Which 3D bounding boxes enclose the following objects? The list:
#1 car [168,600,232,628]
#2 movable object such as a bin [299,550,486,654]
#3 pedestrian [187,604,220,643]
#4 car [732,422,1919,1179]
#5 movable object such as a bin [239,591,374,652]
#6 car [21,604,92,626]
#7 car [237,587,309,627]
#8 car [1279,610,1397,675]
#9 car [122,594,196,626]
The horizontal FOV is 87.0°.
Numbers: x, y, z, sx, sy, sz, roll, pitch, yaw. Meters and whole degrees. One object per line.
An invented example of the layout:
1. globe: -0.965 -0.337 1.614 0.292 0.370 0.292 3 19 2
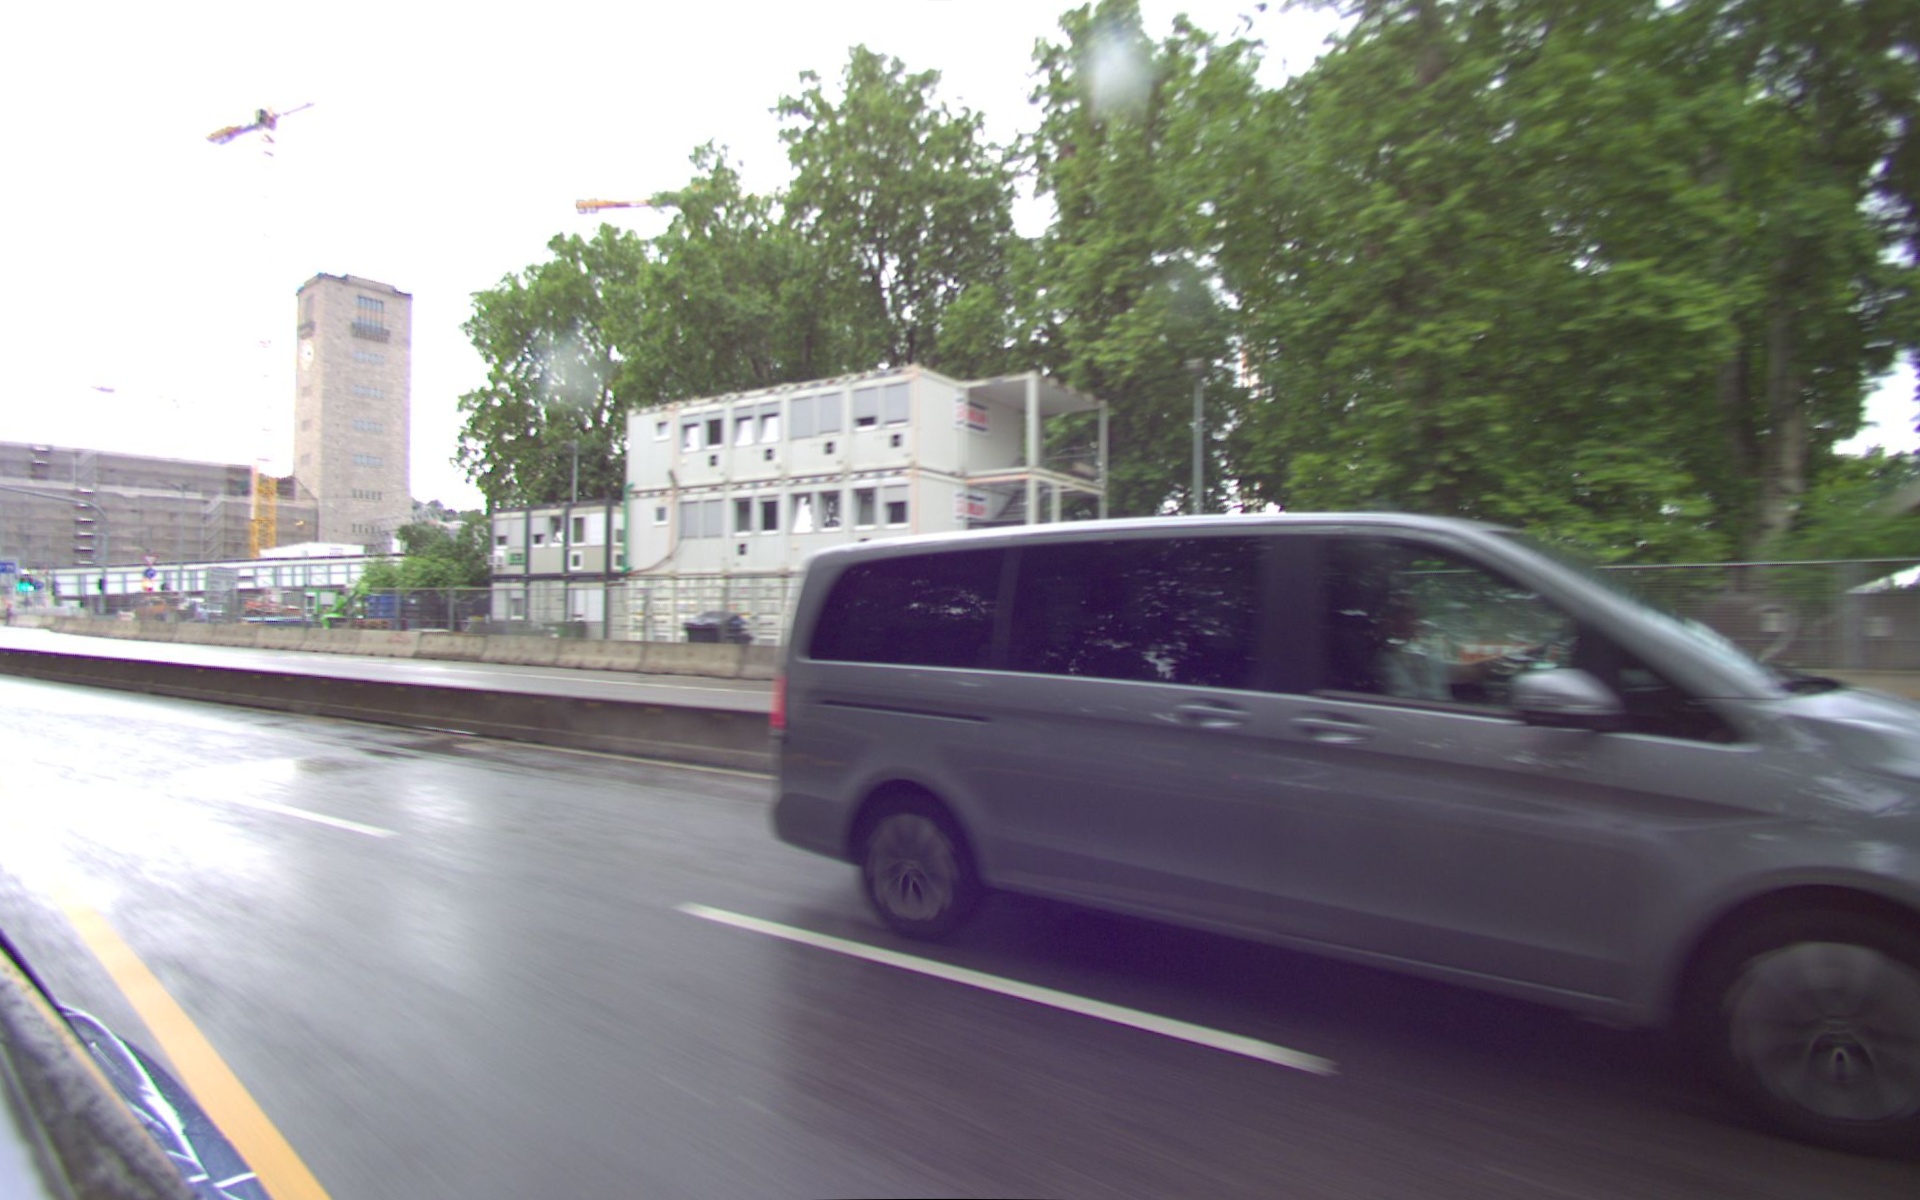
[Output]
1. car: -51.868 0.940 69.029 4.781 1.775 1.831 0 -2 32
2. movable object such as a bin: -28.651 0.147 51.061 8.332 4.839 4.714 0 -2 32
3. pedestrian: -40.167 1.224 53.716 1.172 2.029 1.168 0 0 39
4. car: 1.617 0.511 4.249 5.345 1.870 1.976 -1 -1 35
5. movable object such as a bin: -36.173 1.174 55.998 6.367 3.152 3.902 0 -2 32
6. car: -88.016 1.483 98.631 4.950 2.029 2.002 1 -2 -4
7. car: -54.872 0.531 80.824 6.146 3.089 2.257 0 -2 31
8. car: 9.495 1.047 25.265 1.994 1.454 3.956 0 -2 32
9. car: -56.988 0.725 71.983 5.557 2.117 1.981 0 -3 29
